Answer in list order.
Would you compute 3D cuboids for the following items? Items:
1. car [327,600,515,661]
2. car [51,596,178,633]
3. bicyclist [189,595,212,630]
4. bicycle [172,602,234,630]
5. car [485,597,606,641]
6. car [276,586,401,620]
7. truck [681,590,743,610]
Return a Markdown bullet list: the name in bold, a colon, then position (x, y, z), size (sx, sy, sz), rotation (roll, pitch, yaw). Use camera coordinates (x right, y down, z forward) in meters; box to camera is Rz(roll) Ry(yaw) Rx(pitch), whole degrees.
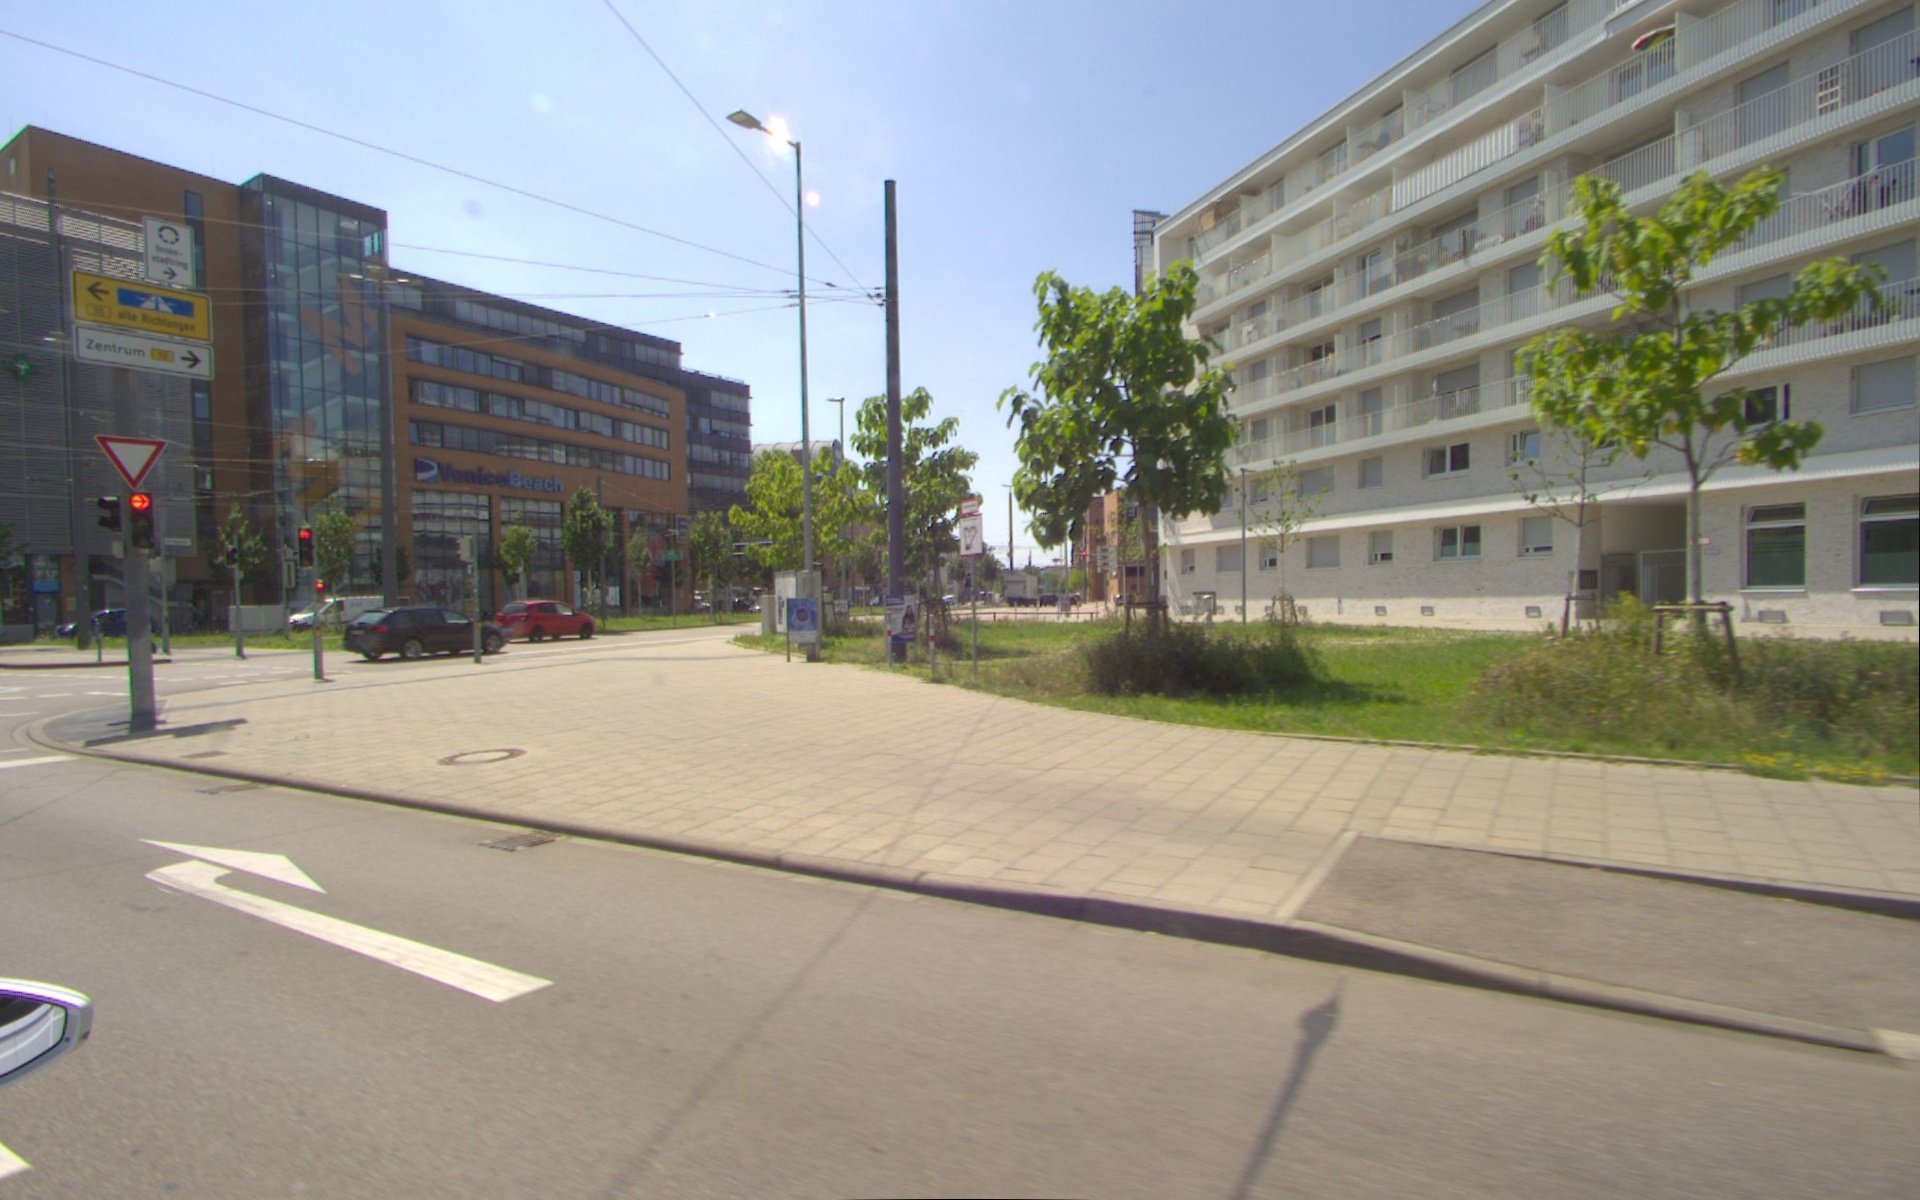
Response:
- **car**: position (-15.213, 0.793, 28.552), size (1.812, 1.528, 4.524), rotation (0, 1, 25)
- **car**: position (-37.611, 0.613, 44.637), size (1.853, 1.559, 3.981), rotation (0, 0, 30)
- **bicyclist**: position (-44.497, 0.733, 58.678), size (0.738, 2.040, 0.910), rotation (1, 1, 34)
- **bicycle**: position (-44.434, 0.926, 58.814), size (0.695, 1.578, 2.841), rotation (1, 0, 35)
- **car**: position (-15.248, 0.681, 37.091), size (1.811, 1.528, 4.129), rotation (0, 0, 21)
- **car**: position (-33.002, 0.160, 53.392), size (1.968, 1.690, 5.460), rotation (0, 0, 27)
- **truck**: position (-37.209, -0.017, 150.343), size (9.066, 2.846, 1.998), rotation (0, 0, 12)
